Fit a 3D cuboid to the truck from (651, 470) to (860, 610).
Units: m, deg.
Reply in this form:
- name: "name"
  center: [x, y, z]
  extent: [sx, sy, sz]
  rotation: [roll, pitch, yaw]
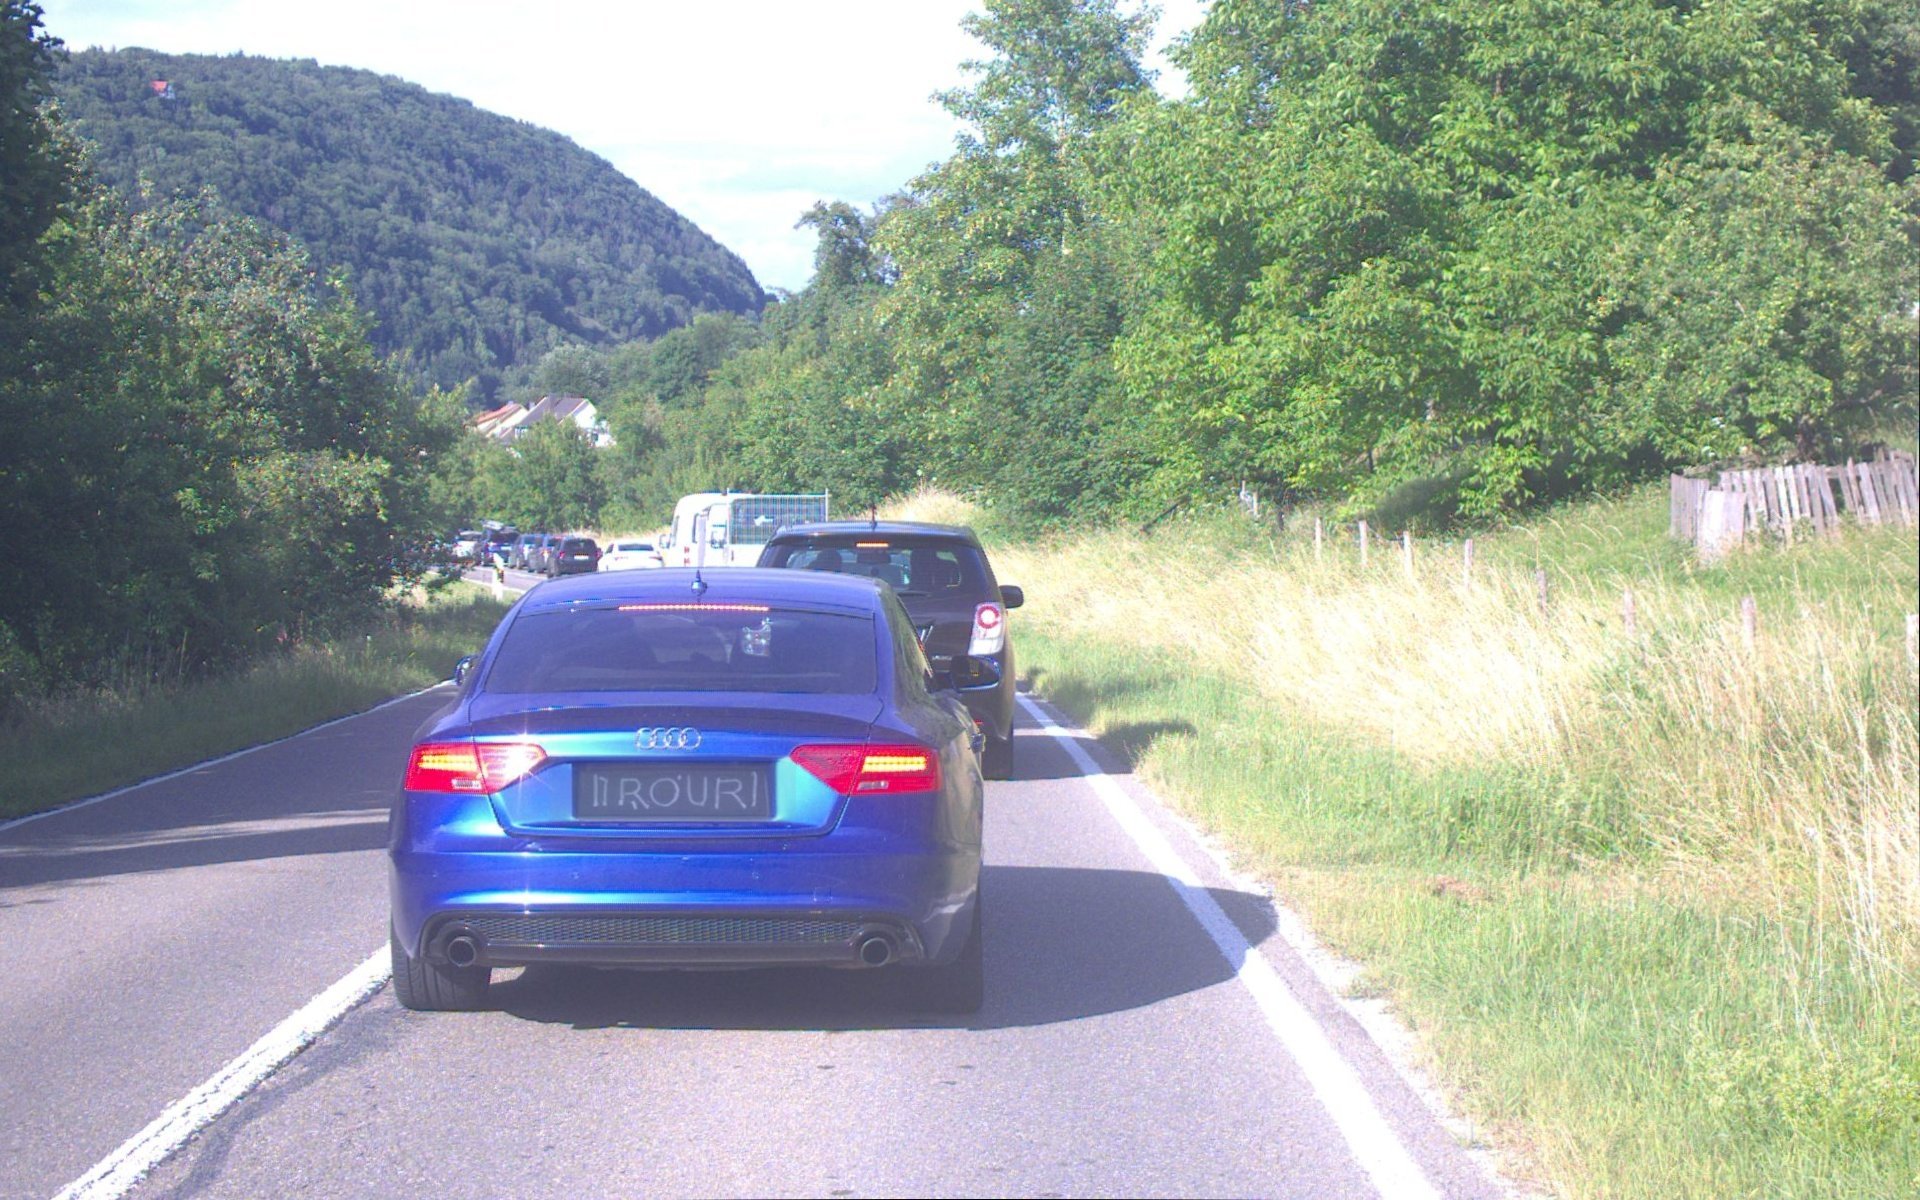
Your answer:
- name: "truck"
  center: [-4.412, -1.258, 71.749]
  extent: [2.863, 2.656, 10.396]
  rotation: [1, 1, -12]

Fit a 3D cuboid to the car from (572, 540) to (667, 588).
- name: "car"
  center: [-10.942, -1.155, 110.226]
  extent: [1.993, 1.477, 4.001]
  rotation: [1, 1, -21]

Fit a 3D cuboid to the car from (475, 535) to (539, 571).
- name: "car"
  center: [-19.175, -1.994, 145.418]
  extent: [1.993, 1.477, 4.001]
  rotation: [1, 1, -17]

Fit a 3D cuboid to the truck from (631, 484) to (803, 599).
- name: "truck"
  center: [-6.177, -1.473, 85.725]
  extent: [2.863, 2.656, 10.648]
  rotation: [1, 1, -12]

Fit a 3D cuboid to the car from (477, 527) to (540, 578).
- name: "car"
  center: [-18.399, -1.941, 139.958]
  extent: [1.993, 2.007, 4.001]
  rotation: [1, 1, -15]

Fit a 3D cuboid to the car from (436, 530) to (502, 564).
- name: "car"
  center: [-22.485, -2.429, 157.280]
  extent: [1.993, 1.477, 4.001]
  rotation: [1, 1, -23]

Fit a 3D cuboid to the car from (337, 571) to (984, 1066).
- name: "car"
  center: [-0.839, 0.595, 11.618]
  extent: [1.793, 1.355, 4.000]
  rotation: [1, 1, 0]

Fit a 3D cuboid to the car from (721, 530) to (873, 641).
- name: "car"
  center: [-2.251, -0.218, 48.424]
  extent: [1.993, 1.477, 4.000]
  rotation: [1, 1, -1]

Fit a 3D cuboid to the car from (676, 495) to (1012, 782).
- name: "car"
  center: [-0.728, 0.212, 22.635]
  extent: [1.993, 1.696, 4.000]
  rotation: [1, 1, -1]

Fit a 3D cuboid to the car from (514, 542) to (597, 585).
- name: "car"
  center: [-14.387, -1.316, 122.173]
  extent: [1.993, 1.477, 4.001]
  rotation: [1, 1, -21]
